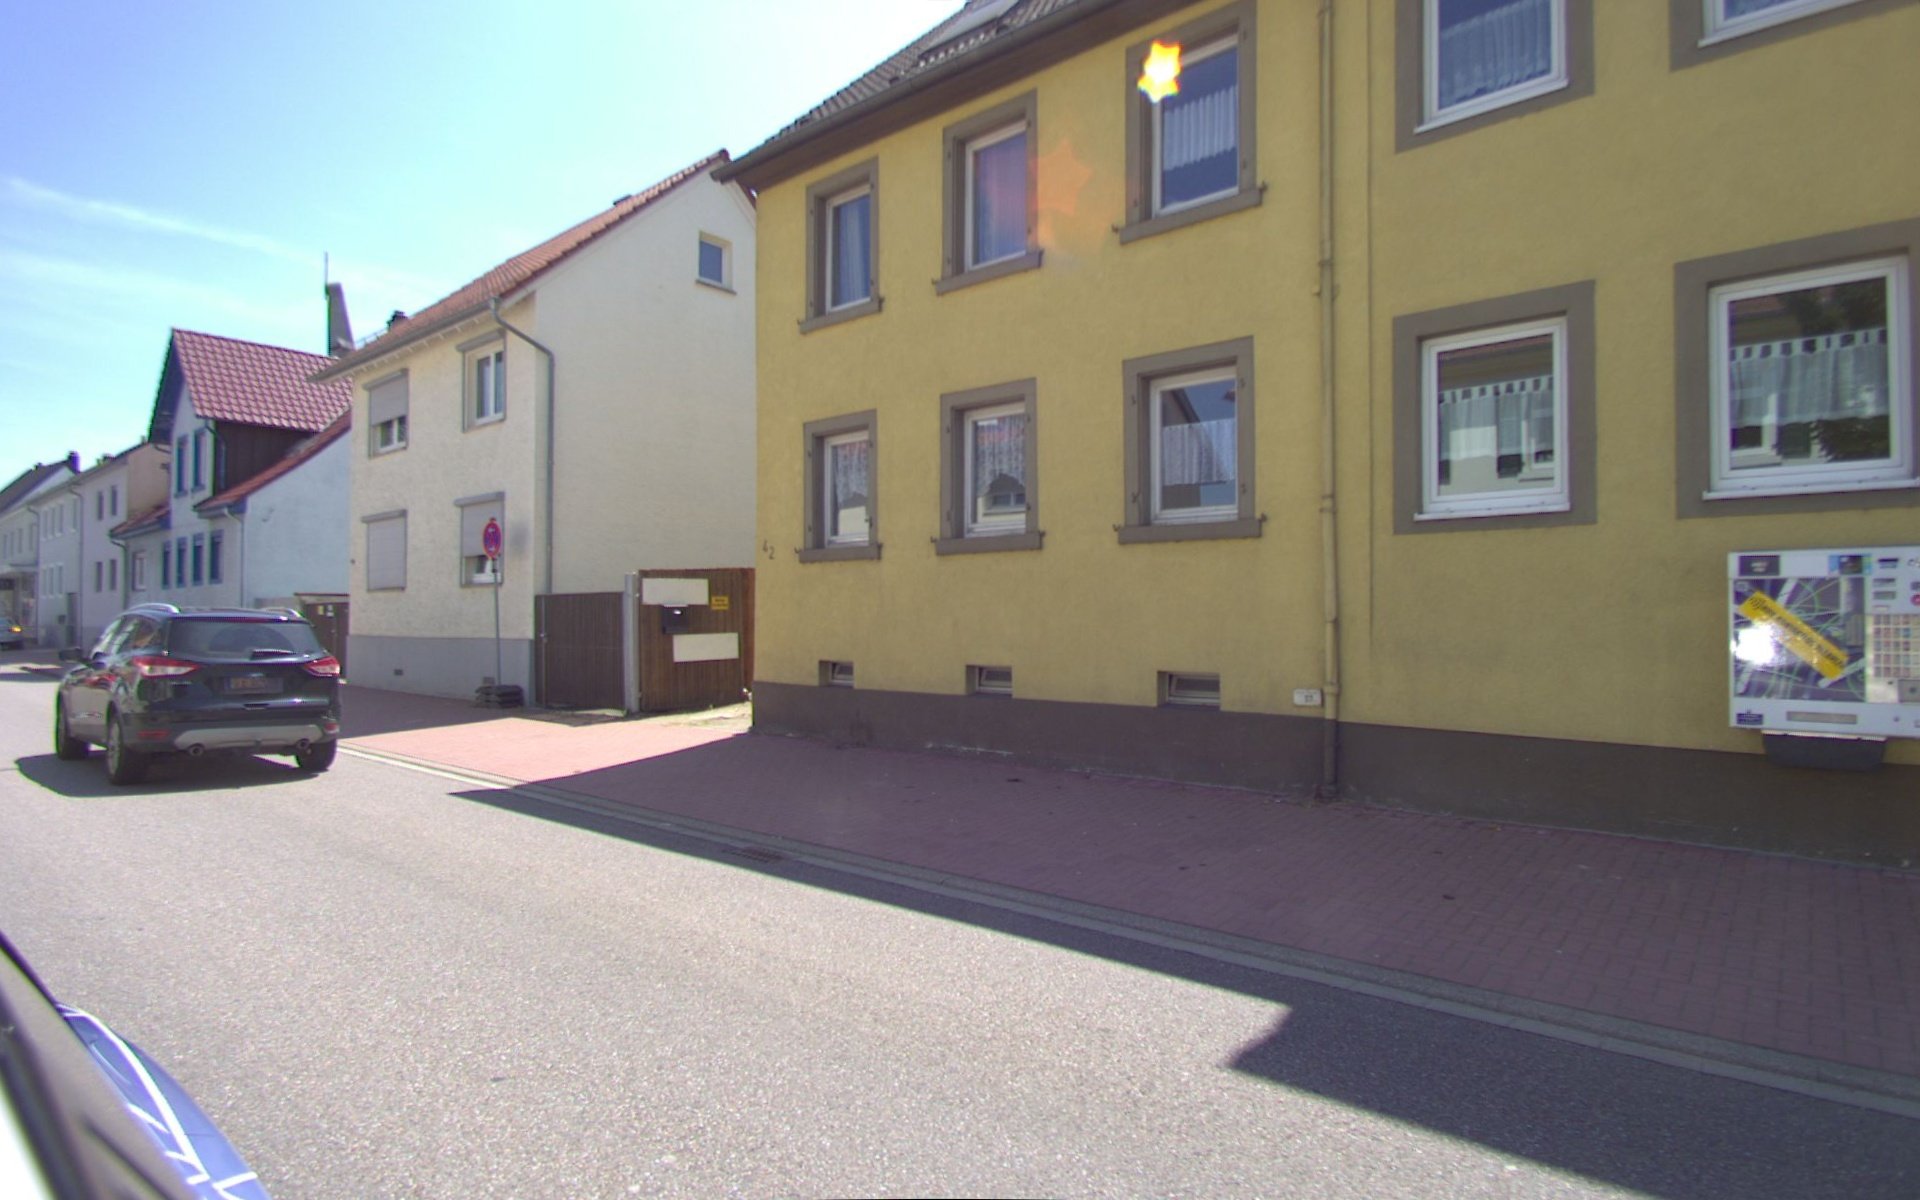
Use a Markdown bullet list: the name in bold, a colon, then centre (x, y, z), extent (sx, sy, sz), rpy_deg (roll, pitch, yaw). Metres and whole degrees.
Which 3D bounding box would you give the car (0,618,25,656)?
- **car**: centre (-42.223, 1.608, 44.005), extent (4.562, 1.569, 1.789), rpy_deg (-1, 1, 41)

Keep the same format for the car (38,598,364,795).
- **car**: centre (-8.164, 0.888, 10.745), extent (4.320, 1.682, 1.820), rpy_deg (-1, -3, 40)
